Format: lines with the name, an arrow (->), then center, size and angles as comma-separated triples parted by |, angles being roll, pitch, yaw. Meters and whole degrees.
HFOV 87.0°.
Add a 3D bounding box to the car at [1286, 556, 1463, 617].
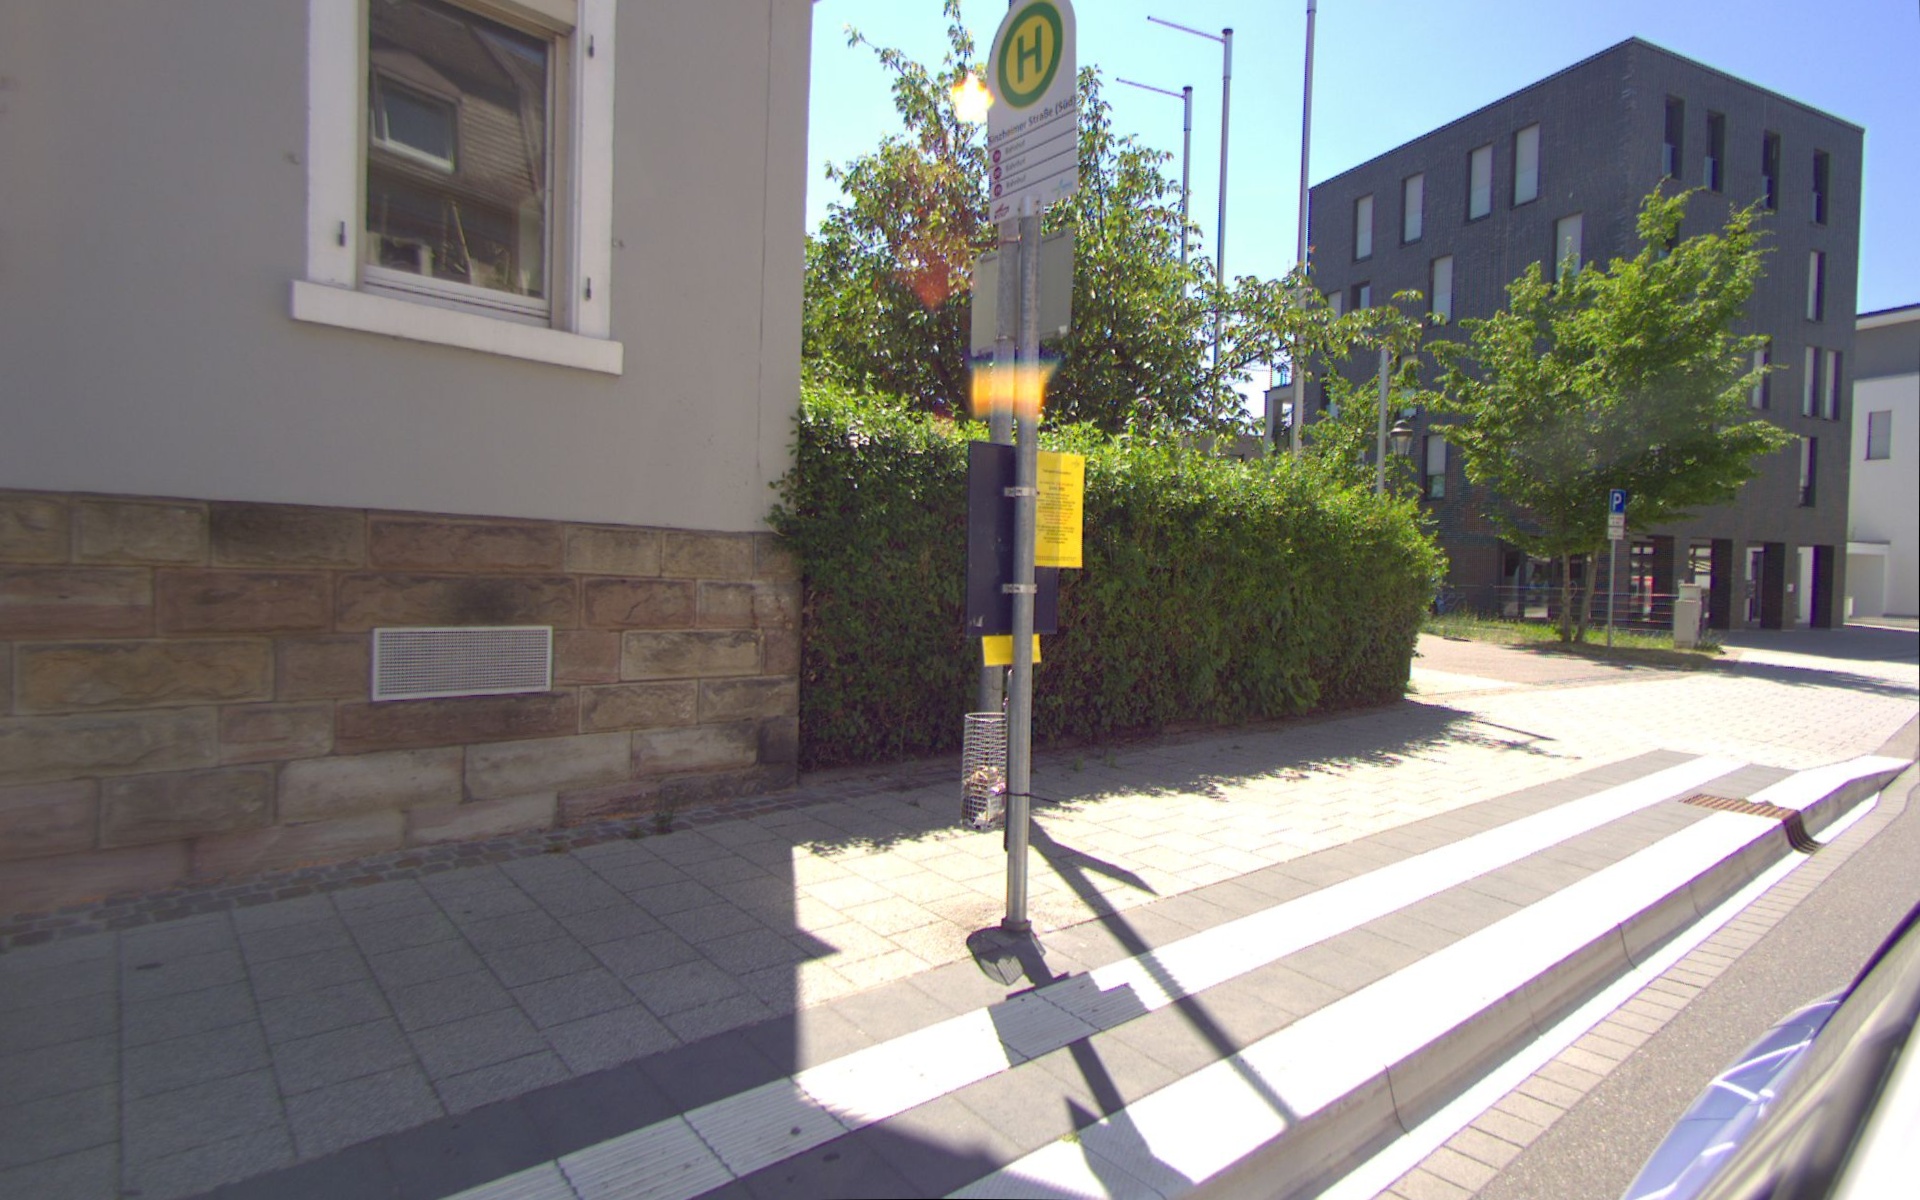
car -> 11.253, -0.384, 27.572 | 4.086, 1.458, 1.821 | 2, 2, -12
